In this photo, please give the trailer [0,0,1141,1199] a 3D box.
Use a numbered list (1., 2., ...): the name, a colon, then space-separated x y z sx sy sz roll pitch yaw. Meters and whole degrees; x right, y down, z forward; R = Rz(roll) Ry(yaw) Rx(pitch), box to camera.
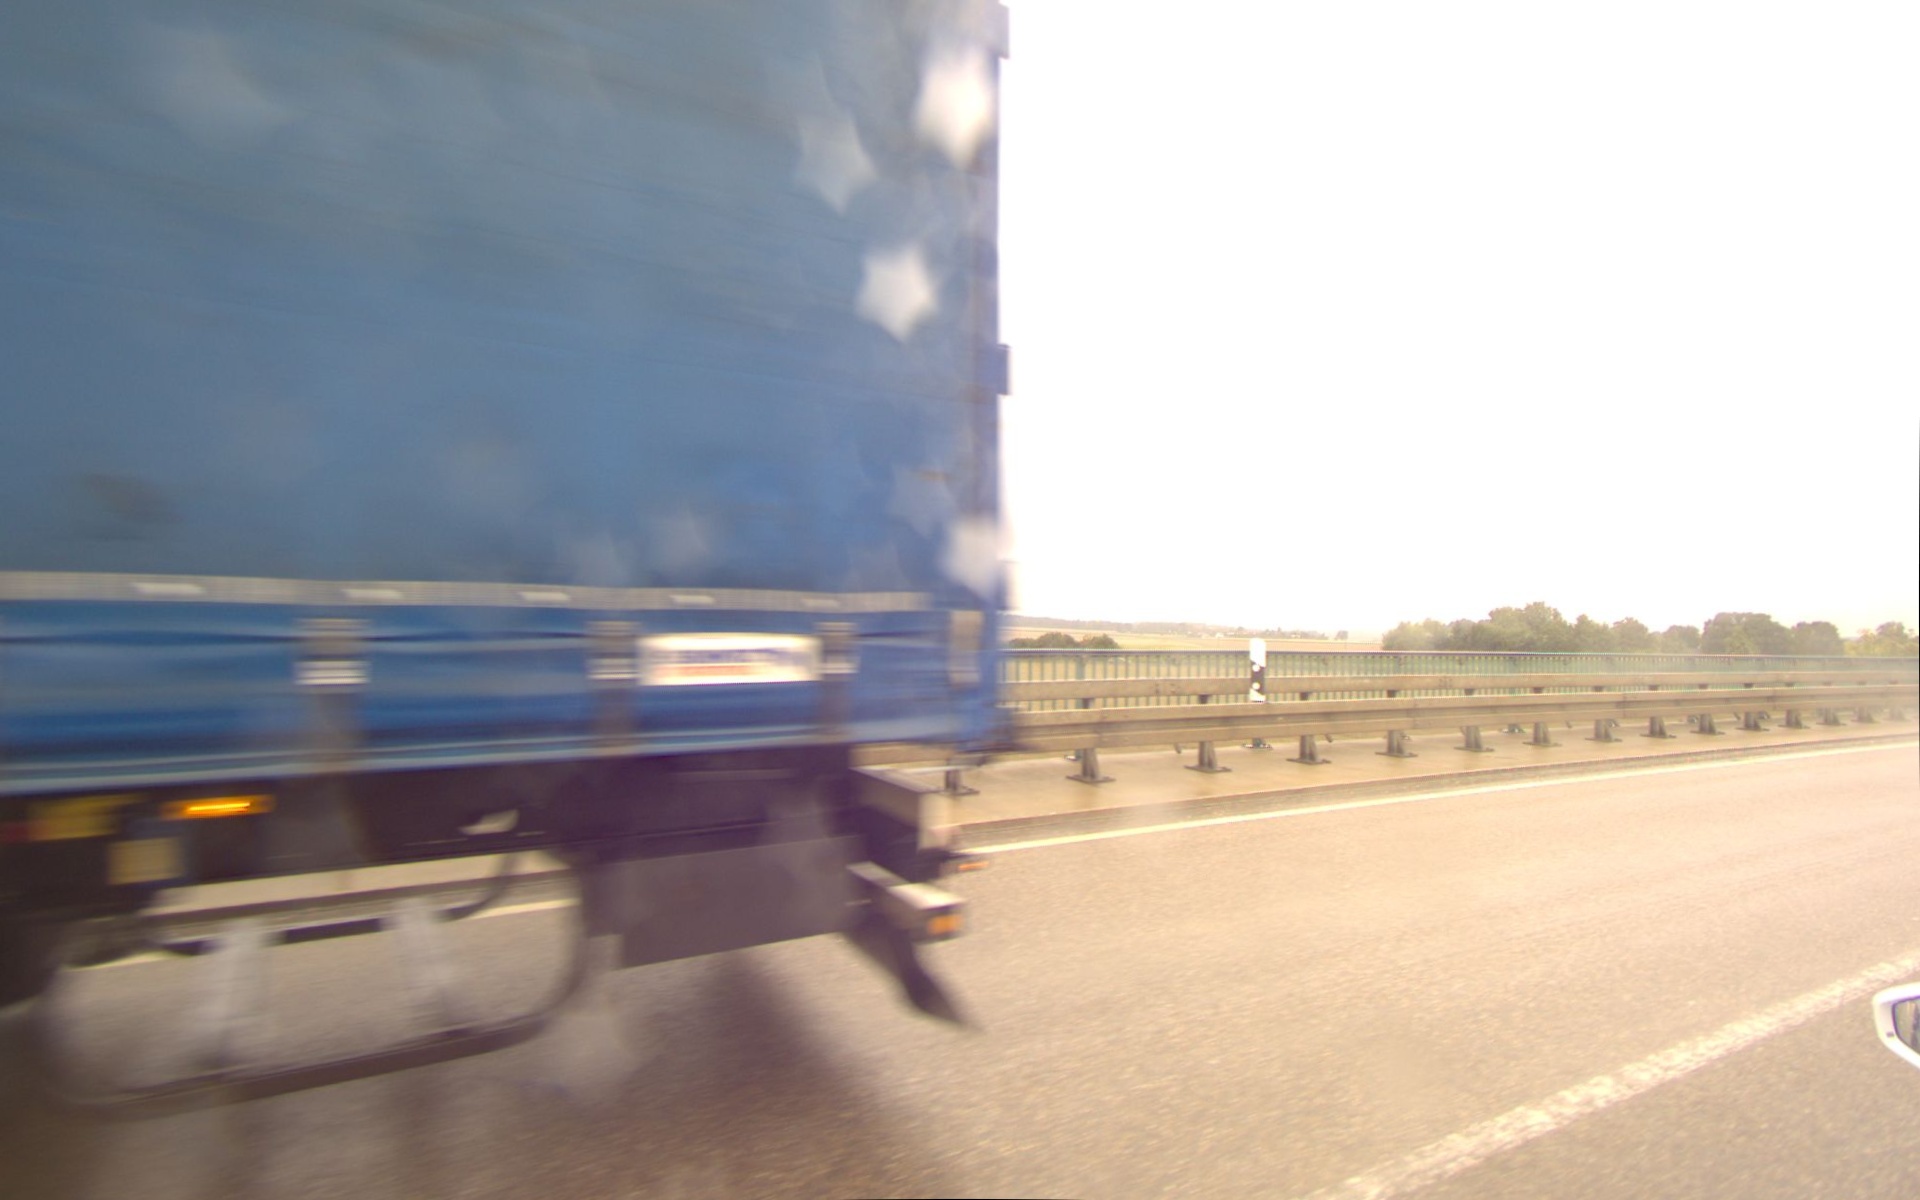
1. trailer: -6.021 -0.757 0.521 13.578 4.023 2.803 2 0 -31
